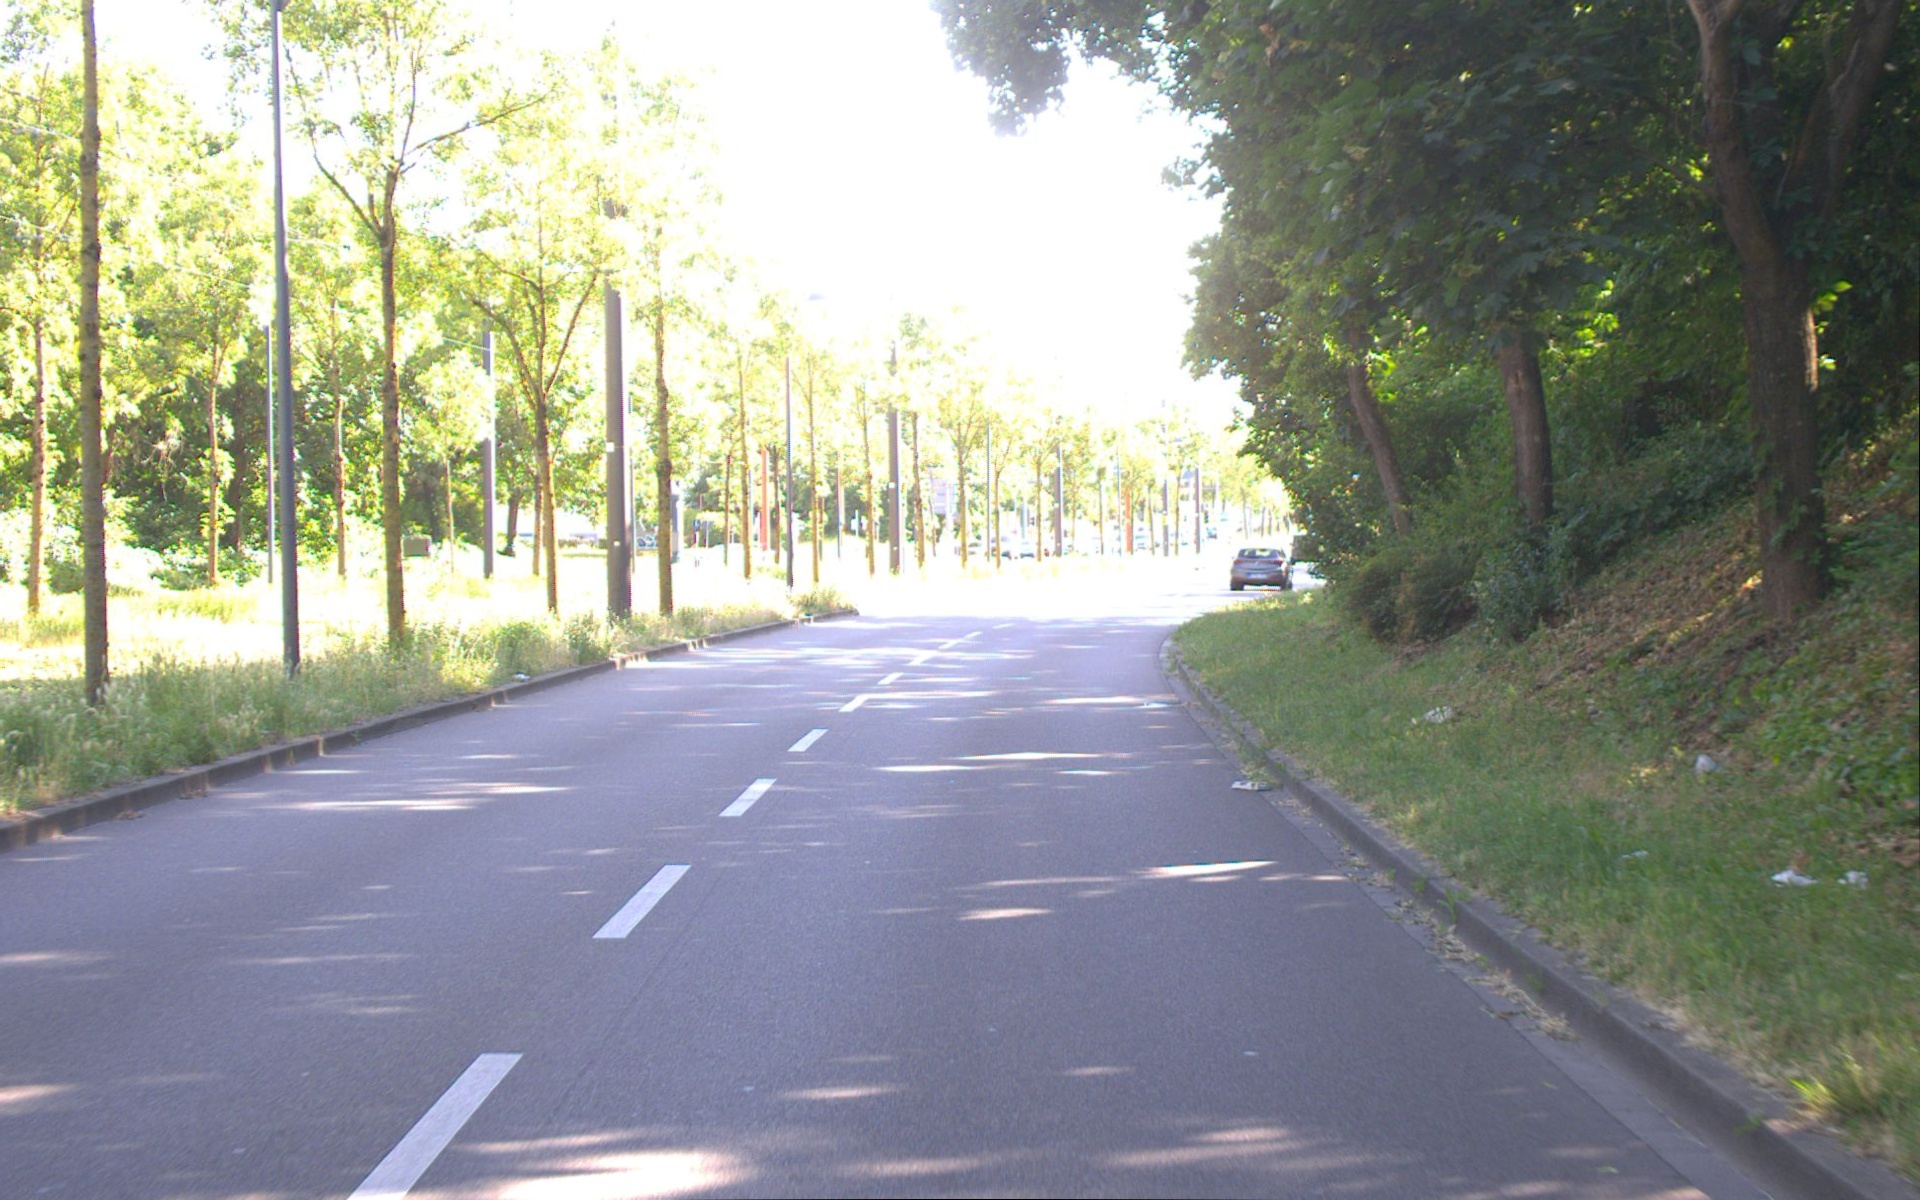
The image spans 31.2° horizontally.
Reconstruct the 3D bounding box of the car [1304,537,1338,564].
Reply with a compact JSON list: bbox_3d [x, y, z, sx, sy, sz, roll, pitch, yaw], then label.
[{"bbox_3d":[20.339,-2.768,193.493,1.635,1.493,4.233,0,1,9],"label":"car"}]

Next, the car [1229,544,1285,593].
[{"bbox_3d":[9.342,-0.991,107.876,1.634,1.493,4.234,0,1,6],"label":"car"}]
